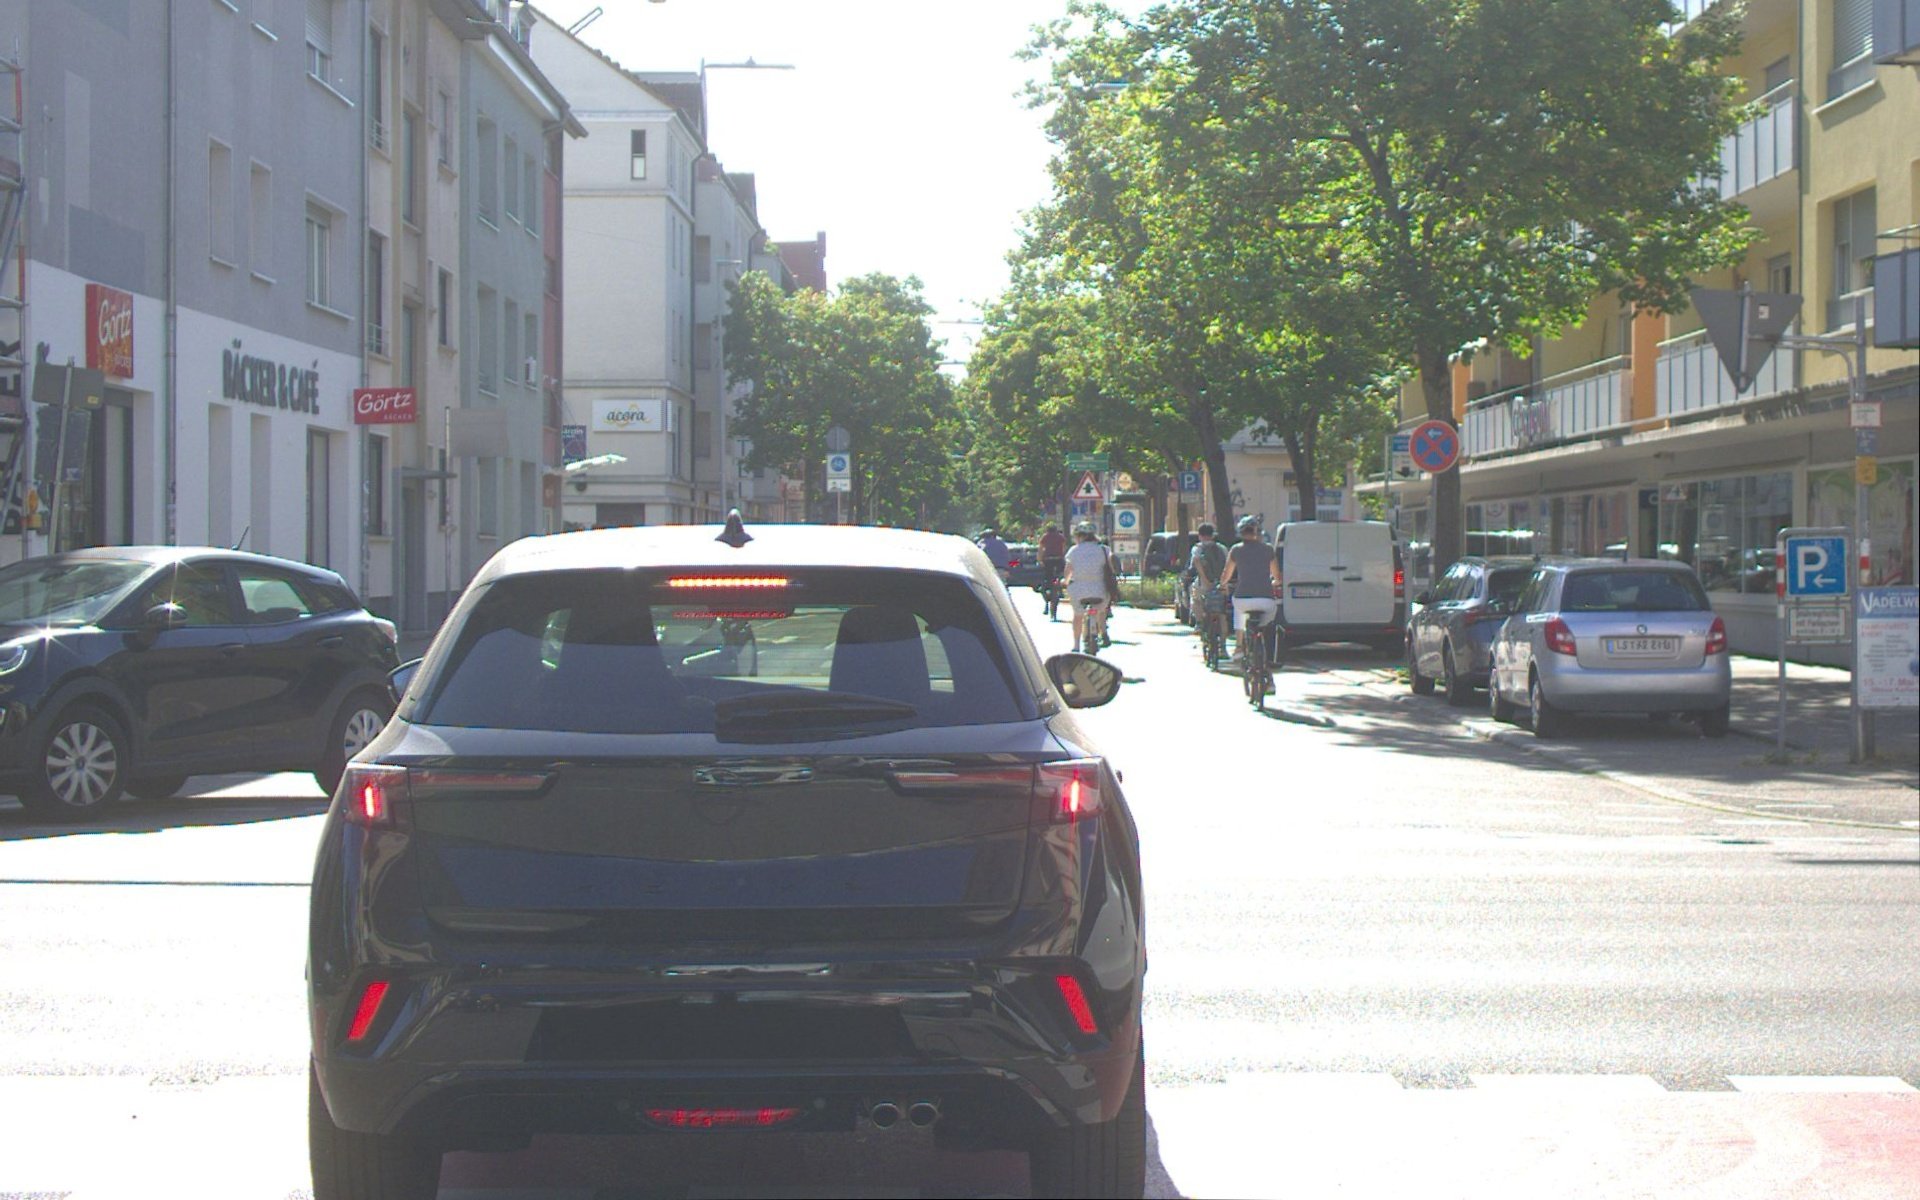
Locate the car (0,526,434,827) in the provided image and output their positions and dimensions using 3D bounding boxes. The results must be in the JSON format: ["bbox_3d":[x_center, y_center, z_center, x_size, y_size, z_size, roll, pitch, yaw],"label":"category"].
[{"bbox_3d":[-4.874,0.377,19.836,1.594,1.560,4.083,0,0,26],"label":"car"}]

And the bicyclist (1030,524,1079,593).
[{"bbox_3d":[1.830,-0.813,66.910,0.856,1.310,1.210,2,1,0],"label":"bicyclist"}]

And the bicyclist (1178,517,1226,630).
[{"bbox_3d":[2.999,-0.332,42.630,0.547,1.378,0.823,0,1,1],"label":"bicyclist"}]

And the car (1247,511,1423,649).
[{"bbox_3d":[5.211,-0.312,48.369,2.046,1.840,4.584,0,1,1],"label":"car"}]

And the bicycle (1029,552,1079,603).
[{"bbox_3d":[1.817,-0.447,67.059,0.856,0.941,2.307,2,1,0],"label":"bicycle"}]

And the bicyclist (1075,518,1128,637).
[{"bbox_3d":[1.658,-0.270,40.391,0.588,1.378,0.823,0,1,1],"label":"bicyclist"}]

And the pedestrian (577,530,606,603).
[{"bbox_3d":[-7.470,-0.676,69.680,0.577,1.462,0.703,0,1,-5],"label":"pedestrian"}]

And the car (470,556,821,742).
[{"bbox_3d":[-2.618,0.368,29.757,1.805,1.408,4.424,-1,1,11],"label":"car"}]

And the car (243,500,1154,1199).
[{"bbox_3d":[-0.523,0.562,8.676,1.762,1.553,4.000,0,1,0],"label":"car"}]

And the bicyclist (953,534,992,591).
[{"bbox_3d":[0.301,-0.898,81.338,0.856,1.310,1.210,2,1,0],"label":"bicyclist"}]

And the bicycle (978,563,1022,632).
[{"bbox_3d":[0.614,-0.051,53.335,0.632,1.037,1.795,0,1,0],"label":"bicycle"}]

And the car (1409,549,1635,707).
[{"bbox_3d":[5.565,0.244,34.408,1.712,1.478,3.381,0,1,0],"label":"car"}]

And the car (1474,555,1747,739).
[{"bbox_3d":[5.590,0.361,29.909,1.712,1.478,3.480,0,1,0],"label":"car"}]

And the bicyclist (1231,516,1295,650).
[{"bbox_3d":[2.878,-0.169,32.731,0.547,1.257,0.803,0,1,1],"label":"bicyclist"}]

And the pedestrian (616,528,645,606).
[{"bbox_3d":[-6.667,-0.672,69.535,0.577,1.577,0.708,0,1,-5],"label":"pedestrian"}]

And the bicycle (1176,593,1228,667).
[{"bbox_3d":[2.996,0.362,42.686,0.547,0.863,1.876,0,1,1],"label":"bicycle"}]

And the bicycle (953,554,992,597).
[{"bbox_3d":[0.292,-0.591,81.324,0.856,0.941,2.307,2,1,0],"label":"bicycle"}]

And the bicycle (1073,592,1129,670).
[{"bbox_3d":[1.652,0.352,40.447,0.620,0.863,1.876,0,1,1],"label":"bicycle"}]

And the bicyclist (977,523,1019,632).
[{"bbox_3d":[0.586,-0.355,53.220,0.632,1.663,1.050,0,1,0],"label":"bicyclist"}]

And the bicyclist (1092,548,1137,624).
[{"bbox_3d":[2.448,-0.230,54.636,0.692,1.189,0.595,0,1,1],"label":"bicyclist"}]

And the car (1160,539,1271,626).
[{"bbox_3d":[4.469,-0.323,60.493,1.712,1.478,3.381,0,1,0],"label":"car"}]

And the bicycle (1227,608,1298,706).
[{"bbox_3d":[2.880,0.532,32.857,0.547,0.863,1.876,0,1,1],"label":"bicycle"}]

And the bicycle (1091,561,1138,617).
[{"bbox_3d":[2.444,-0.179,54.590,0.691,0.863,1.876,0,1,1],"label":"bicycle"}]
